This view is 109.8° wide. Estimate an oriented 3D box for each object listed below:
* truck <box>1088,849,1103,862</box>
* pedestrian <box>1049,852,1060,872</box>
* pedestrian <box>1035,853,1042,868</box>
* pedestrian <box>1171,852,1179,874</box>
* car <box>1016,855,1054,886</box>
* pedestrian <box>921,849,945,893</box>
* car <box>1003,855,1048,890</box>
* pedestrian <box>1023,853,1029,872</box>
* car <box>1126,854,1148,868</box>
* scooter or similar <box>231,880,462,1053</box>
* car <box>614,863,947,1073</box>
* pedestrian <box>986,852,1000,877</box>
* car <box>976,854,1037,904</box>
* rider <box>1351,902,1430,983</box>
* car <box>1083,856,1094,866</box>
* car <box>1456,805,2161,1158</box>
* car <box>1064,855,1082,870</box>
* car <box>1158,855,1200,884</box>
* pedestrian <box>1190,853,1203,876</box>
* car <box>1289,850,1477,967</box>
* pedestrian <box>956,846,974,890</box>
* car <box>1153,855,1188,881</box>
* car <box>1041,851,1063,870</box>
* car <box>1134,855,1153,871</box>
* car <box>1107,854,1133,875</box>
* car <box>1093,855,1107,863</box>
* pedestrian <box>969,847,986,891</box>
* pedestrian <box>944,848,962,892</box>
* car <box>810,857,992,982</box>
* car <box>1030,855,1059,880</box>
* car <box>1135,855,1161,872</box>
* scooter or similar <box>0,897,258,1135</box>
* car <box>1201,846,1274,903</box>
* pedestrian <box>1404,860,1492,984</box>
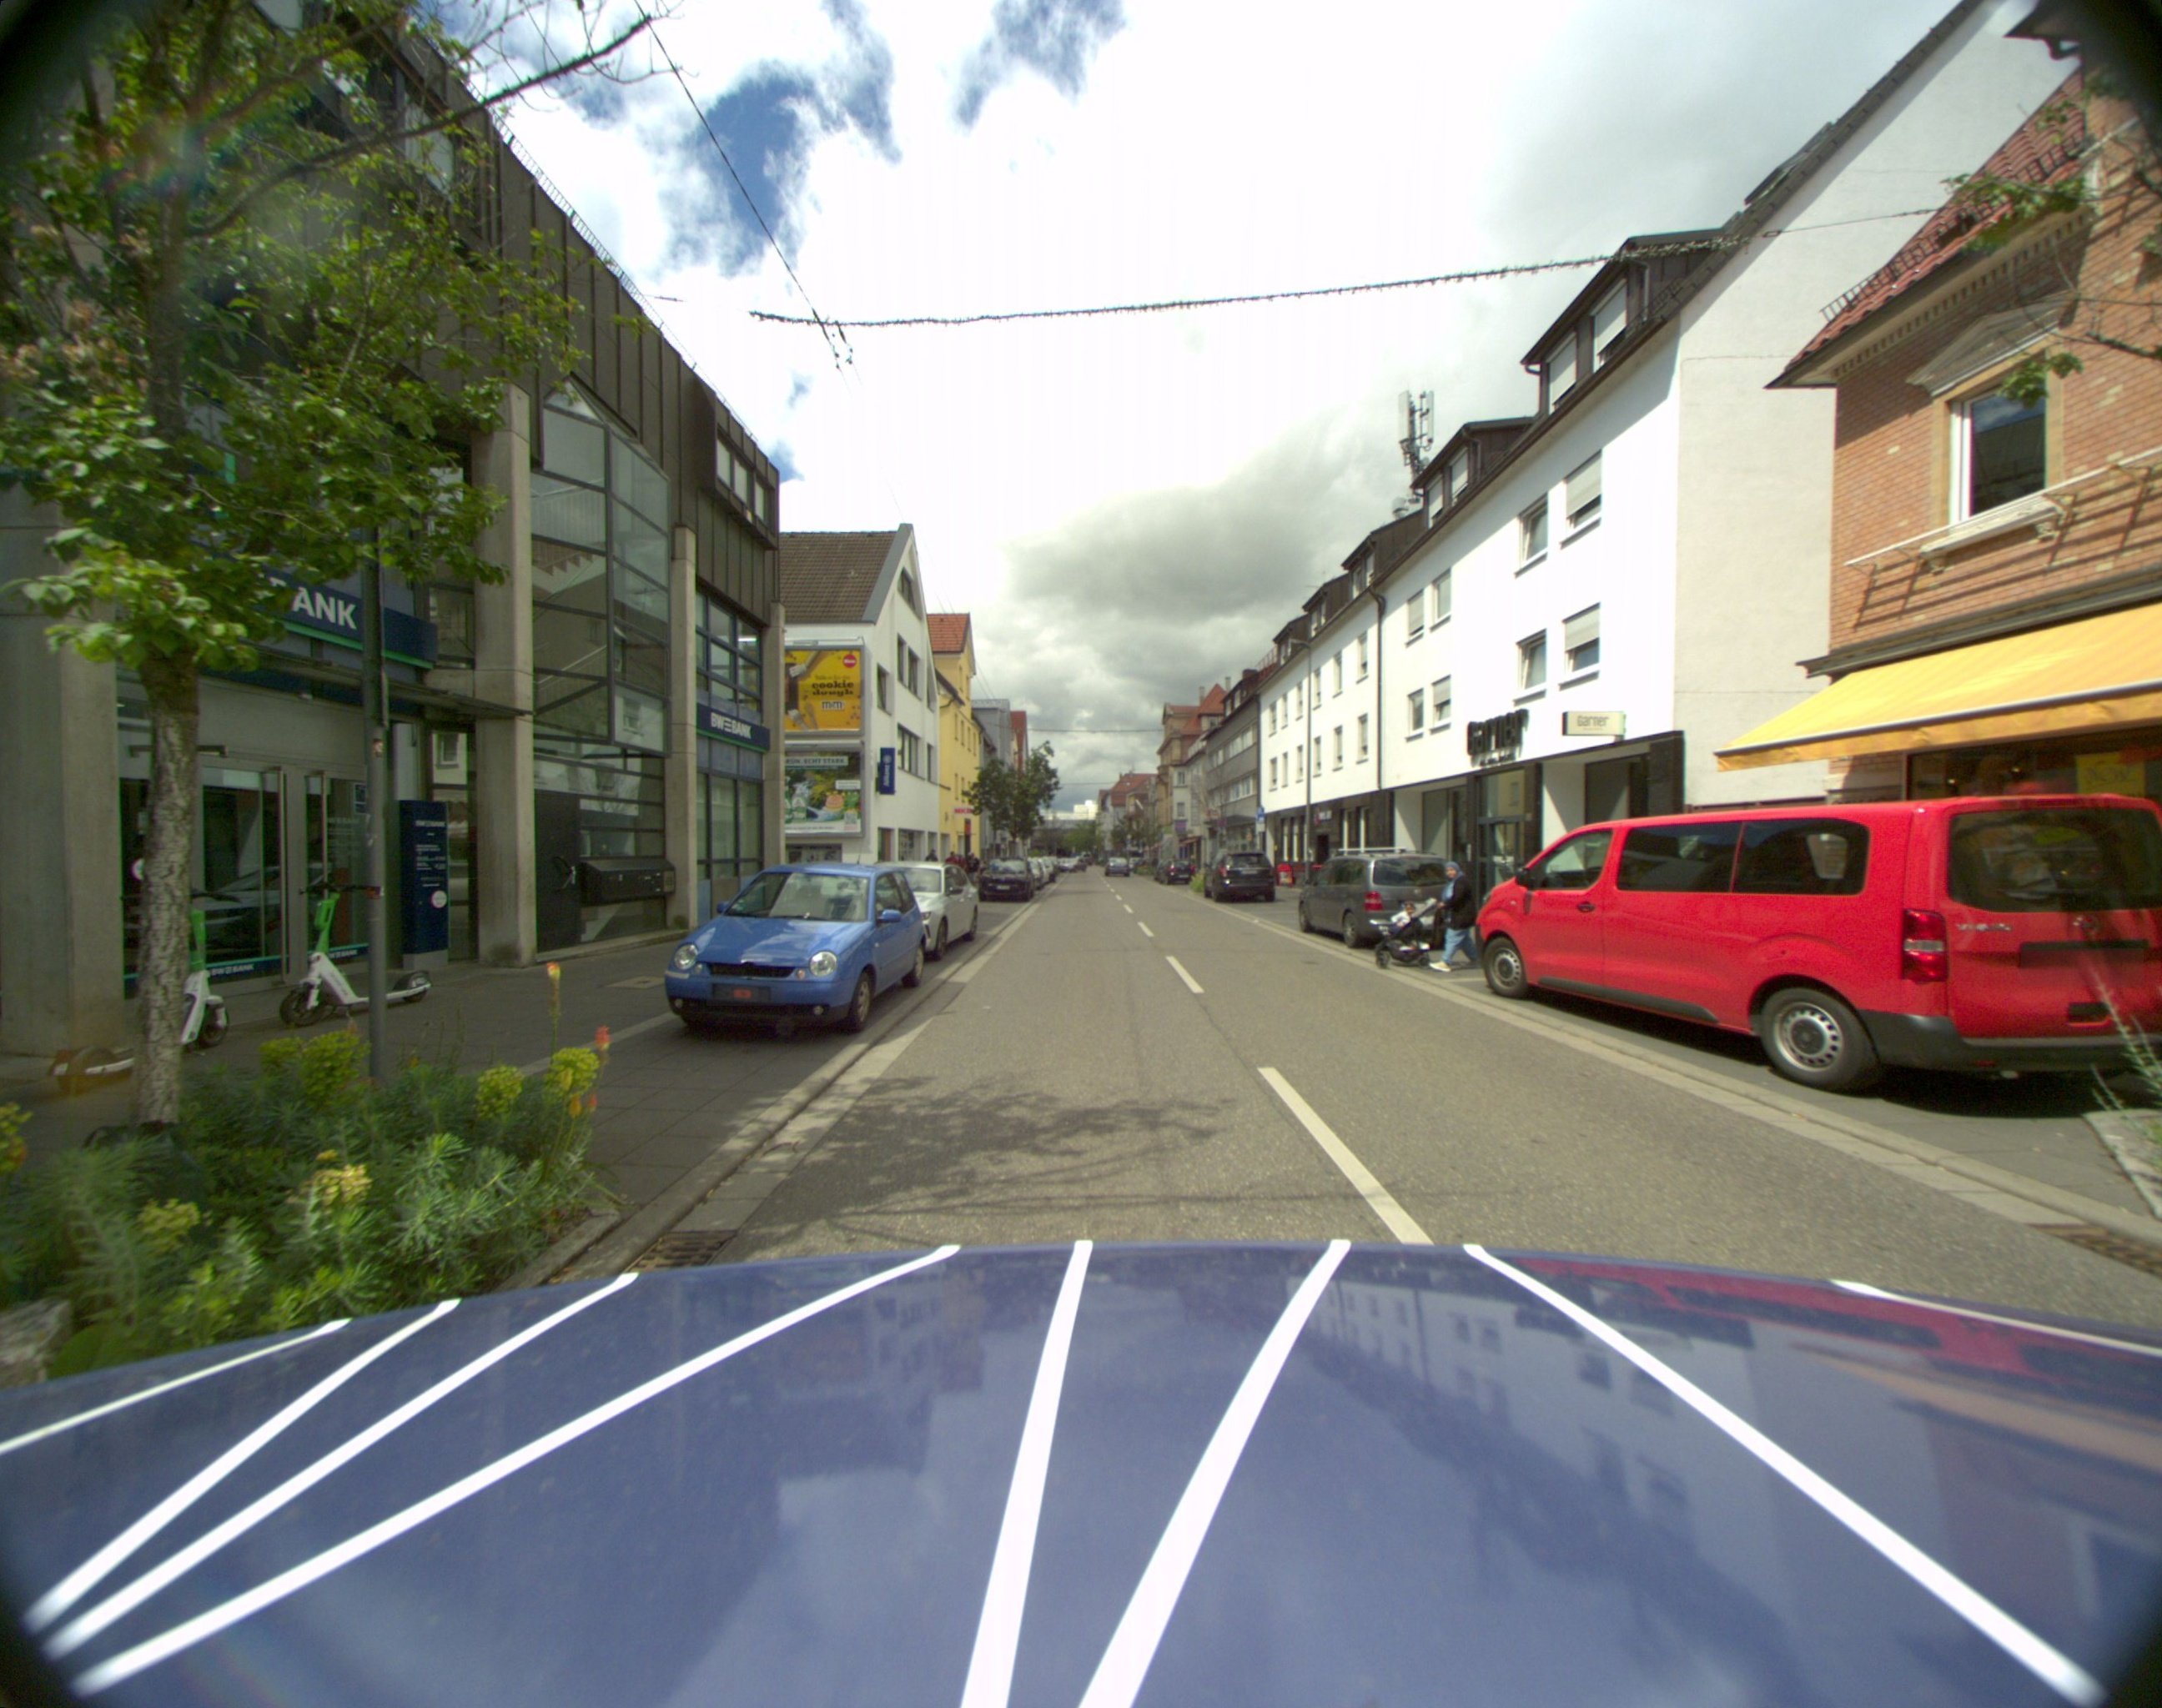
[{"bbox_3d":[2.694,0.236,144.308,2.112,2.292,6.472,-2,1,-5],"label":"truck"},{"bbox_3d":[-2.452,0.752,70.337,0.978,1.853,0.864,1,1,-1],"label":"pedestrian"},{"bbox_3d":[-4.756,0.714,85.815,0.745,1.708,0.655,0,1,-1],"label":"pedestrian"},{"bbox_3d":[7.669,0.715,62.049,0.549,1.747,0.728,-2,1,-3],"label":"pedestrian"},{"bbox_3d":[-2.483,0.861,42.120,1.634,1.467,4.957,-2,1,2],"label":"car"},{"bbox_3d":[-6.012,0.680,30.862,0.743,1.727,0.757,-2,1,1],"label":"pedestrian"},{"bbox_3d":[-2.618,0.831,36.739,1.725,1.467,4.353,-2,1,1],"label":"car"},{"bbox_3d":[-5.178,0.797,71.640,0.537,1.708,0.606,-2,1,-1],"label":"pedestrian"},{"bbox_3d":[6.196,0.785,84.268,1.851,1.390,4.035,-2,1,-3],"label":"car"},{"bbox_3d":[-6.247,0.885,6.587,0.423,1.238,1.561,-2,1,0],"label":"scooter or similar"},{"bbox_3d":[-2.719,0.926,8.013,1.725,1.485,4.109,-2,1,2],"label":"car"},{"bbox_3d":[-5.340,0.633,46.238,0.751,1.544,0.726,0,1,0],"label":"pedestrian"},{"bbox_3d":[-2.605,0.832,27.467,1.725,1.568,4.108,-2,1,0],"label":"car"},{"bbox_3d":[4.270,1.204,10.512,0.805,1.007,0.707,-2,1,3],"label":"rider"},{"bbox_3d":[1.205,1.214,129.317,1.536,1.521,3.757,-2,1,-3],"label":"car"},{"bbox_3d":[5.461,0.646,6.566,1.821,1.878,4.838,-2,1,-3],"label":"car"},{"bbox_3d":[-0.814,0.881,78.350,1.724,1.517,3.598,0,0,1],"label":"car"},{"bbox_3d":[5.601,0.869,43.891,1.795,1.495,4.177,-2,1,0],"label":"car"},{"bbox_3d":[8.393,0.775,55.135,0.733,1.609,0.651,-2,1,-4],"label":"pedestrian"},{"bbox_3d":[5.369,0.851,14.194,1.820,1.745,4.463,-2,1,2],"label":"car"},{"bbox_3d":[-4.988,0.596,32.698,0.589,1.830,0.576,-2,1,1],"label":"pedestrian"},{"bbox_3d":[5.857,0.888,50.006,1.794,1.504,4.712,-2,1,1],"label":"car"},{"bbox_3d":[-2.559,0.595,67.559,1.804,1.594,4.203,1,0,-1],"label":"car"},{"bbox_3d":[5.952,0.814,73.153,1.590,1.406,3.668,-2,1,1],"label":"car"},{"bbox_3d":[3.172,0.834,61.922,1.910,1.554,4.645,-2,1,1],"label":"car"},{"bbox_3d":[3.344,0.879,133.524,1.723,1.296,4.463,0,-1,-9],"label":"car"},{"bbox_3d":[-4.344,0.633,31.914,0.589,1.830,0.576,-2,1,1],"label":"pedestrian"},{"bbox_3d":[-5.391,0.673,31.911,0.589,1.830,0.576,-2,1,1],"label":"pedestrian"},{"bbox_3d":[-2.775,0.950,12.812,1.725,1.567,4.430,-6,-1,2],"label":"car"},{"bbox_3d":[-2.258,0.855,47.990,1.694,1.463,4.523,-2,-1,-2],"label":"car"},{"bbox_3d":[6.044,0.821,68.626,1.602,1.437,3.554,0,0,-7],"label":"car"},{"bbox_3d":[-6.168,0.948,4.889,0.406,1.238,1.323,-2,1,-10],"label":"scooter or similar"},{"bbox_3d":[5.419,0.652,26.846,1.820,1.745,4.669,-2,1,3],"label":"car"},{"bbox_3d":[4.913,0.885,10.221,0.807,1.565,0.779,-2,1,3],"label":"pedestrian"}]
